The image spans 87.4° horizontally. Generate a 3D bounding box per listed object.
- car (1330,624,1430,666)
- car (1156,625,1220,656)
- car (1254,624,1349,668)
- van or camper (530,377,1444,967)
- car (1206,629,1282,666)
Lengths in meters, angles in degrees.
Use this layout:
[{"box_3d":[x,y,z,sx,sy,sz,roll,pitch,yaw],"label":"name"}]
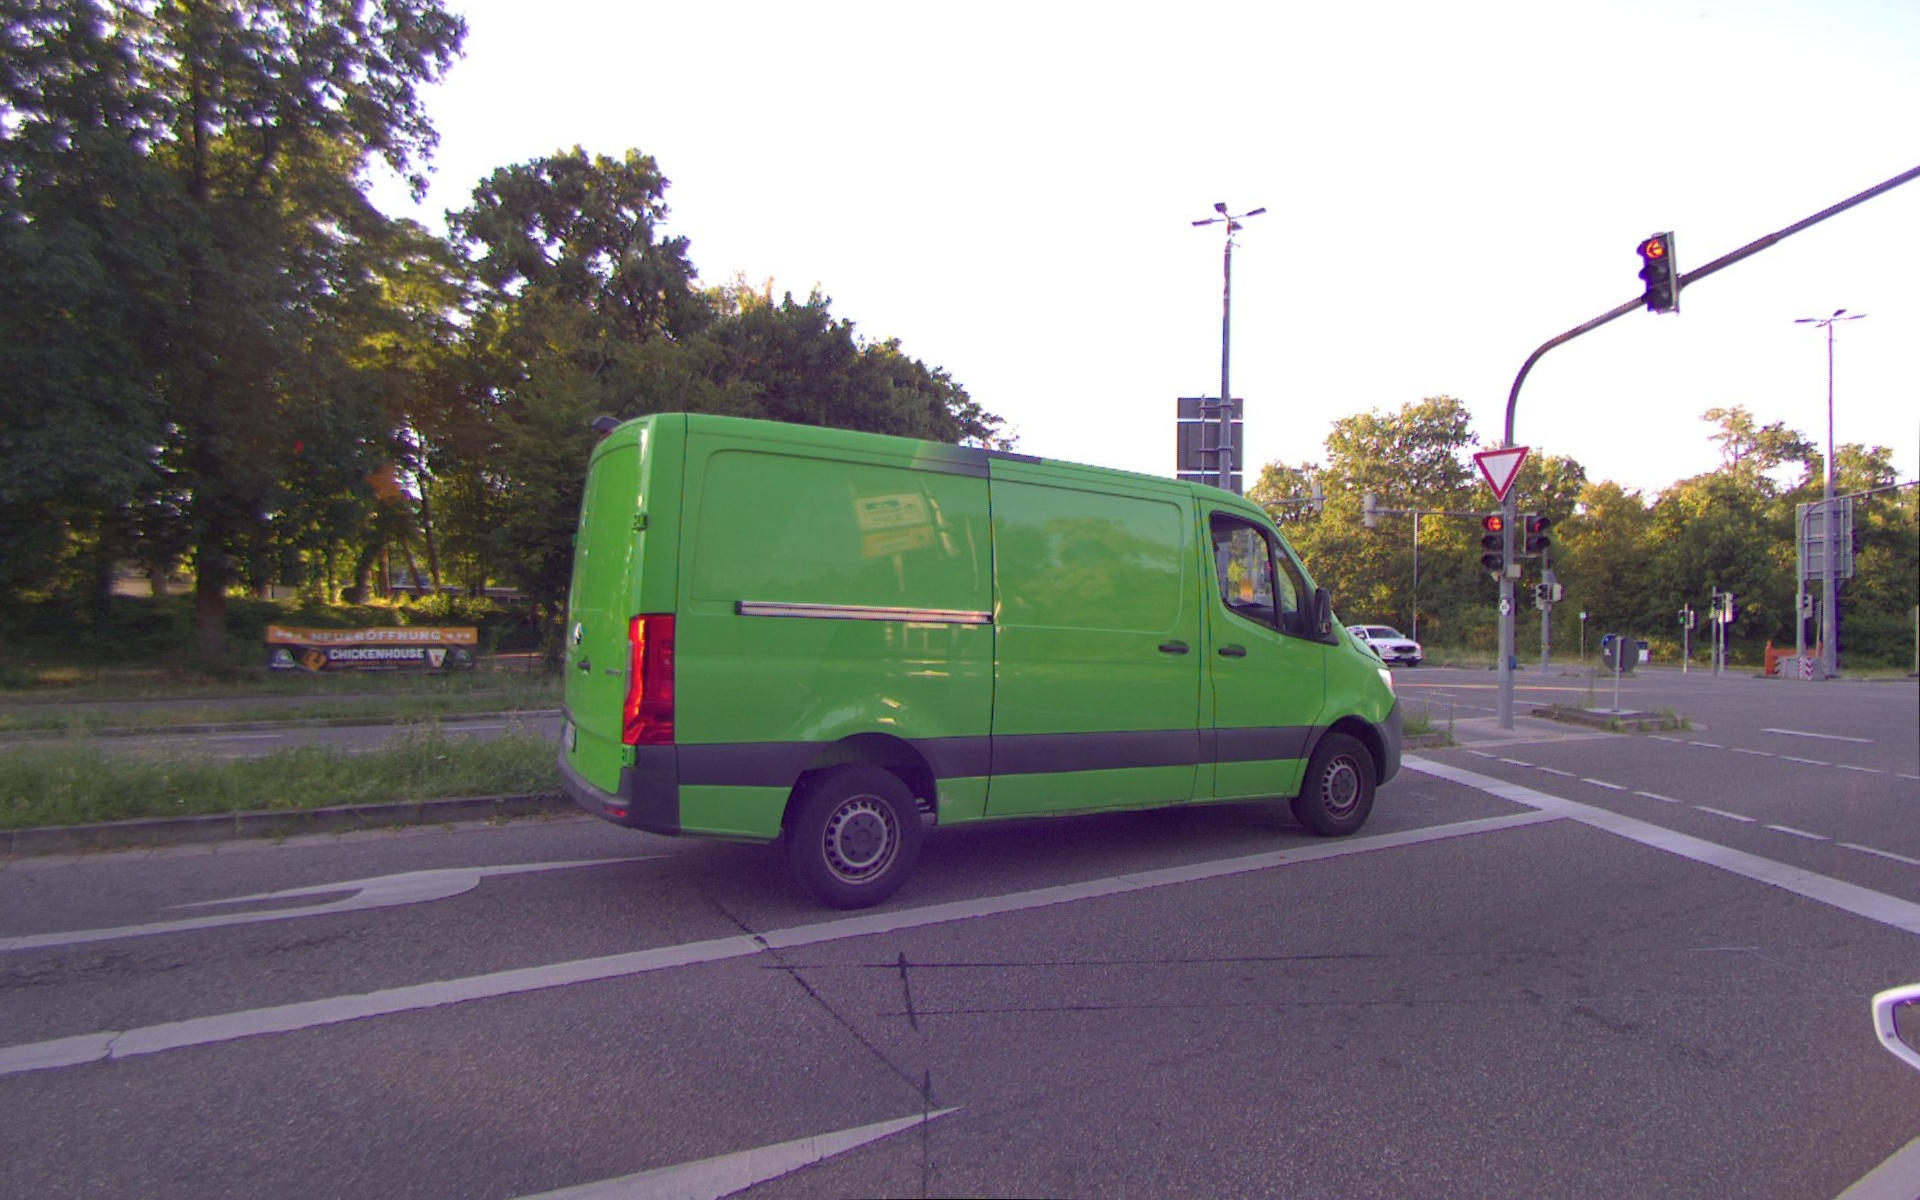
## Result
[{"box_3d":[17.506,1.854,42.102,1.963,1.661,4.252,1,-1,-8],"label":"car"},{"box_3d":[12.697,2.222,56.198,1.964,1.661,4.250,1,-1,-10],"label":"car"},{"box_3d":[13.802,1.822,40.822,1.963,1.661,4.252,1,-1,-8],"label":"car"},{"box_3d":[0.486,0.378,6.560,5.829,2.453,1.983,2,-1,-31],"label":"van or camper"},{"box_3d":[13.509,2.232,48.045,1.963,1.661,4.252,1,-1,-8],"label":"car"}]
